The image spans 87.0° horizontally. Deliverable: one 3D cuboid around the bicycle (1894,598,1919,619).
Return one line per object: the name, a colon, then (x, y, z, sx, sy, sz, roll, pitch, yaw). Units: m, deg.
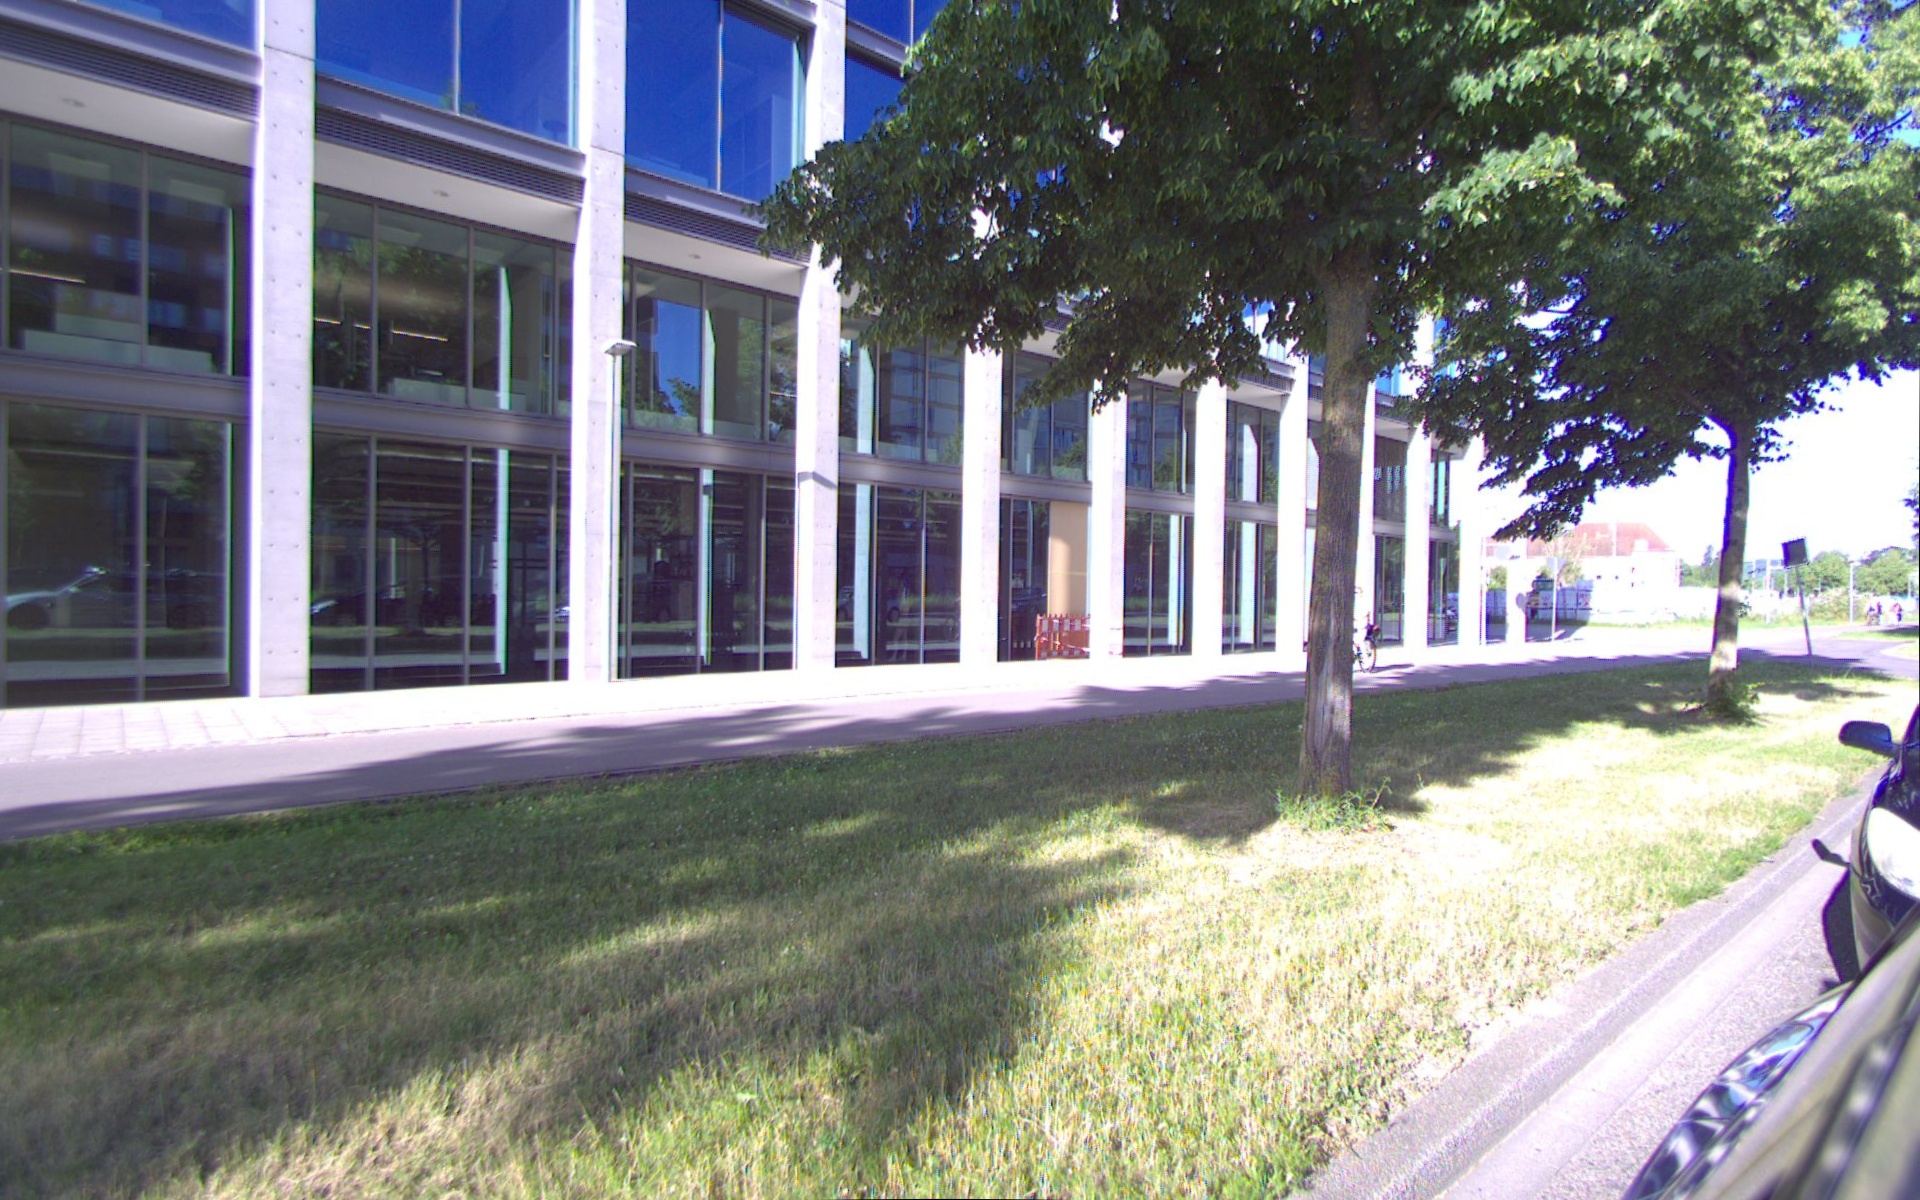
bicycle: (65.034, 0.590, 69.436, 3.930, 1.380, 0.930, 0, 1, -41)

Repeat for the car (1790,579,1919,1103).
car: (4.818, 0.697, 3.861, 4.403, 1.500, 1.845, 0, 1, -41)

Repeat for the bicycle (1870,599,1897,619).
bicycle: (64.040, 0.618, 70.130, 3.930, 1.380, 0.930, 0, 1, -41)

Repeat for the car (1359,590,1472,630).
car: (19.506, 0.389, 43.483, 1.963, 1.598, 3.997, 0, 1, -38)

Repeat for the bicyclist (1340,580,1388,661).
bicyclist: (8.060, 0.404, 20.192, 0.687, 1.558, 0.591, 1, 2, -41)

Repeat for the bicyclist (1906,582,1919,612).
bicyclist: (68.059, -0.220, 72.068, 1.101, 2.082, 0.930, 0, 0, -41)

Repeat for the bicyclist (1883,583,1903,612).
bicyclist: (67.121, -0.193, 72.772, 1.101, 2.082, 0.930, 0, 0, -41)

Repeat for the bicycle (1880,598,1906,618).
bicycle: (67.293, 0.582, 72.959, 3.930, 1.380, 0.930, 0, 1, -41)

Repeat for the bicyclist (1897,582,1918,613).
bicyclist: (64.978, -0.186, 69.379, 1.101, 2.082, 0.930, 0, 0, -41)

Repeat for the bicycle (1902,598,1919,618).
bicycle: (68.098, 0.557, 72.135, 3.930, 1.380, 0.930, 0, 1, -41)

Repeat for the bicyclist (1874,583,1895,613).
bicyclist: (64.069, -0.159, 70.135, 1.101, 2.082, 0.930, 0, 0, -41)

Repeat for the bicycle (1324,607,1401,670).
bicycle: (8.048, 0.751, 20.206, 1.894, 1.170, 0.591, 1, 2, -41)
